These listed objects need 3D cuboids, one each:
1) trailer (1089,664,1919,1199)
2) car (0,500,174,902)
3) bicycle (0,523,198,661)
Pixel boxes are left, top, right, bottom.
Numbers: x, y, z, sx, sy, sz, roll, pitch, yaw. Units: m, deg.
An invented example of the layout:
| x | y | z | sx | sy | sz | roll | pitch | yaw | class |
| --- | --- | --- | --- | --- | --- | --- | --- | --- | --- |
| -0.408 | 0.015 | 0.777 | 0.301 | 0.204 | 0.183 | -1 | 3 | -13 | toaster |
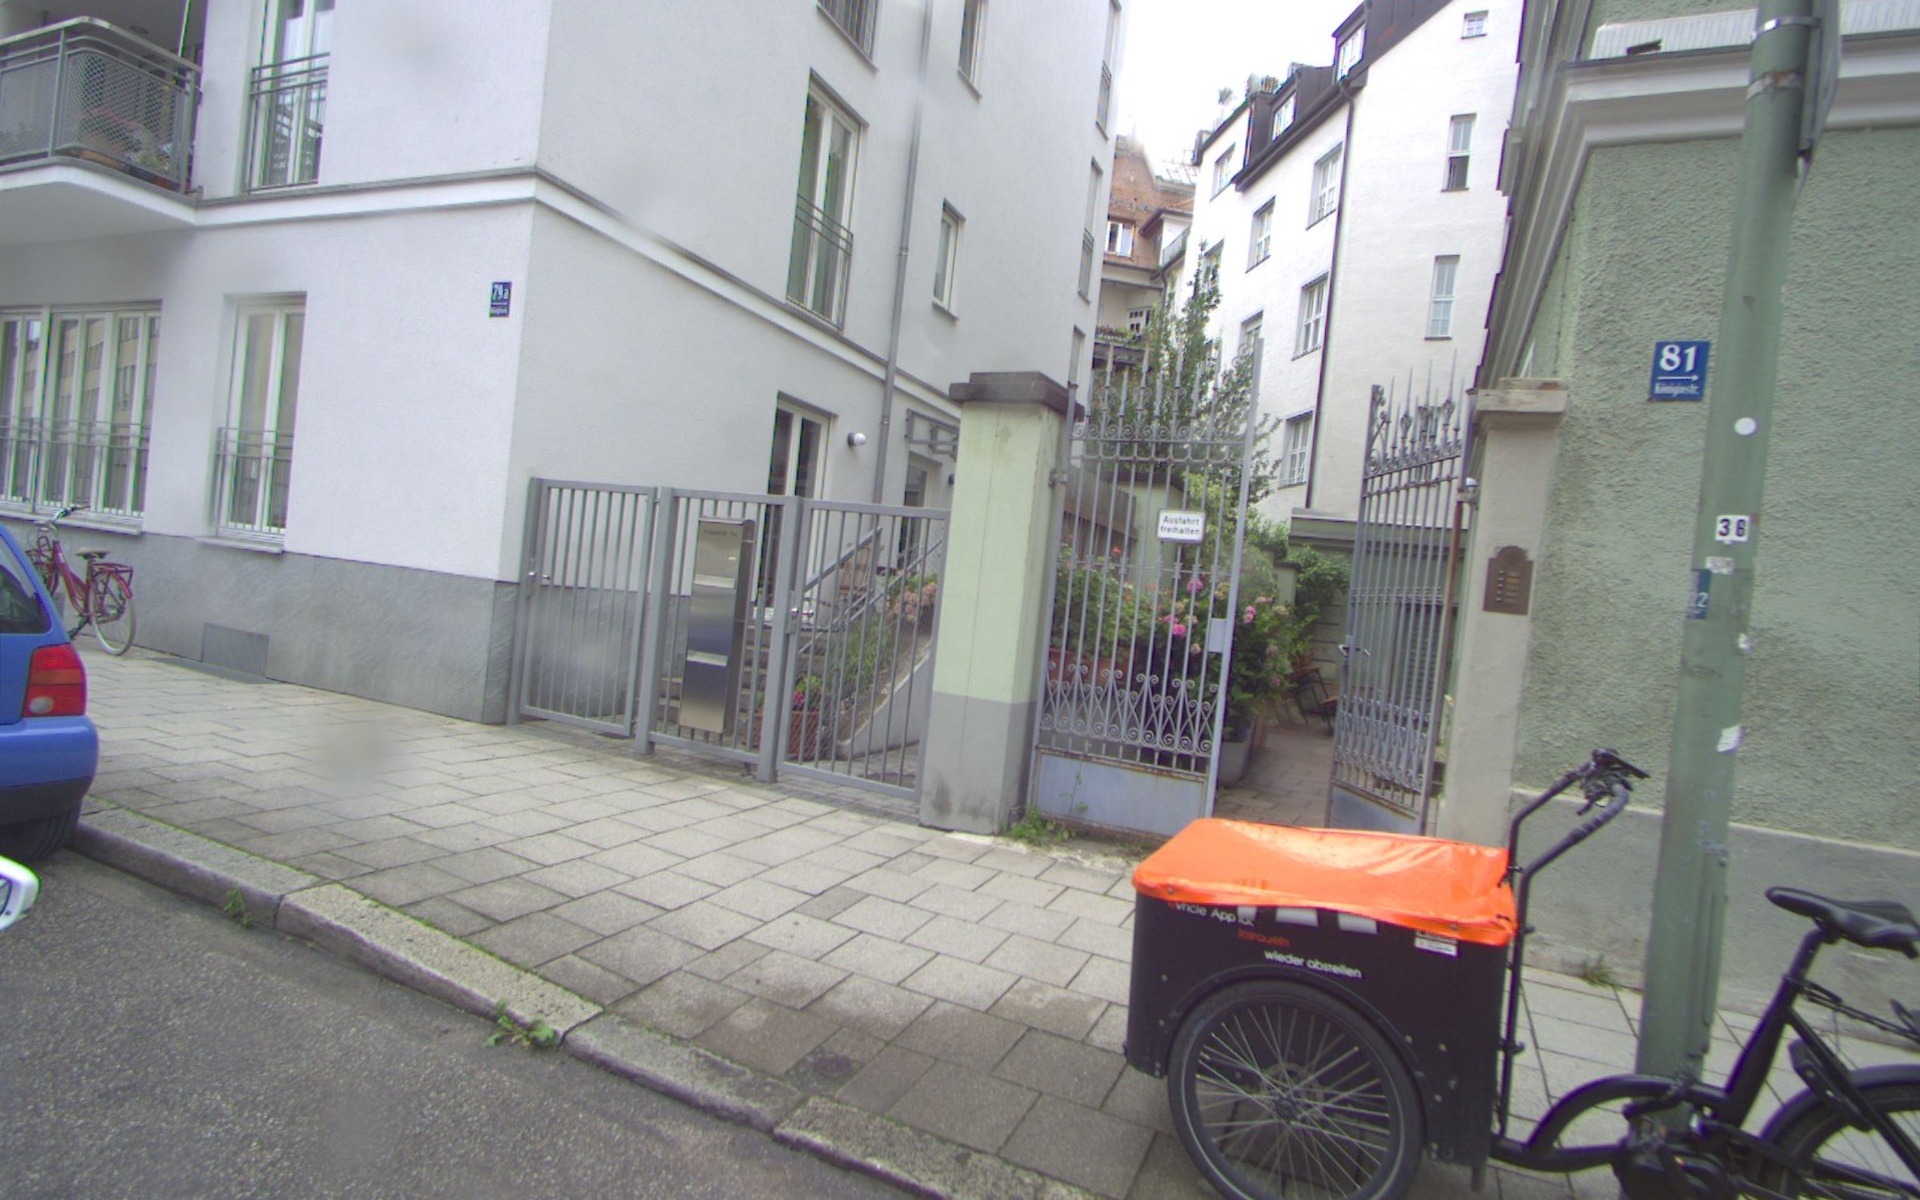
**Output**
| x | y | z | sx | sy | sz | roll | pitch | yaw | class |
| --- | --- | --- | --- | --- | --- | --- | --- | --- | --- |
| 1.540 | 0.923 | 2.522 | 2.127 | 1.200 | 0.942 | 7 | 4 | 30 | trailer |
| -5.113 | 0.164 | 3.908 | 3.488 | 1.429 | 1.625 | 6 | -2 | 22 | car |
| -7.567 | -0.081 | 8.731 | 1.801 | 1.041 | 0.679 | 5 | 0 | 23 | bicycle |
